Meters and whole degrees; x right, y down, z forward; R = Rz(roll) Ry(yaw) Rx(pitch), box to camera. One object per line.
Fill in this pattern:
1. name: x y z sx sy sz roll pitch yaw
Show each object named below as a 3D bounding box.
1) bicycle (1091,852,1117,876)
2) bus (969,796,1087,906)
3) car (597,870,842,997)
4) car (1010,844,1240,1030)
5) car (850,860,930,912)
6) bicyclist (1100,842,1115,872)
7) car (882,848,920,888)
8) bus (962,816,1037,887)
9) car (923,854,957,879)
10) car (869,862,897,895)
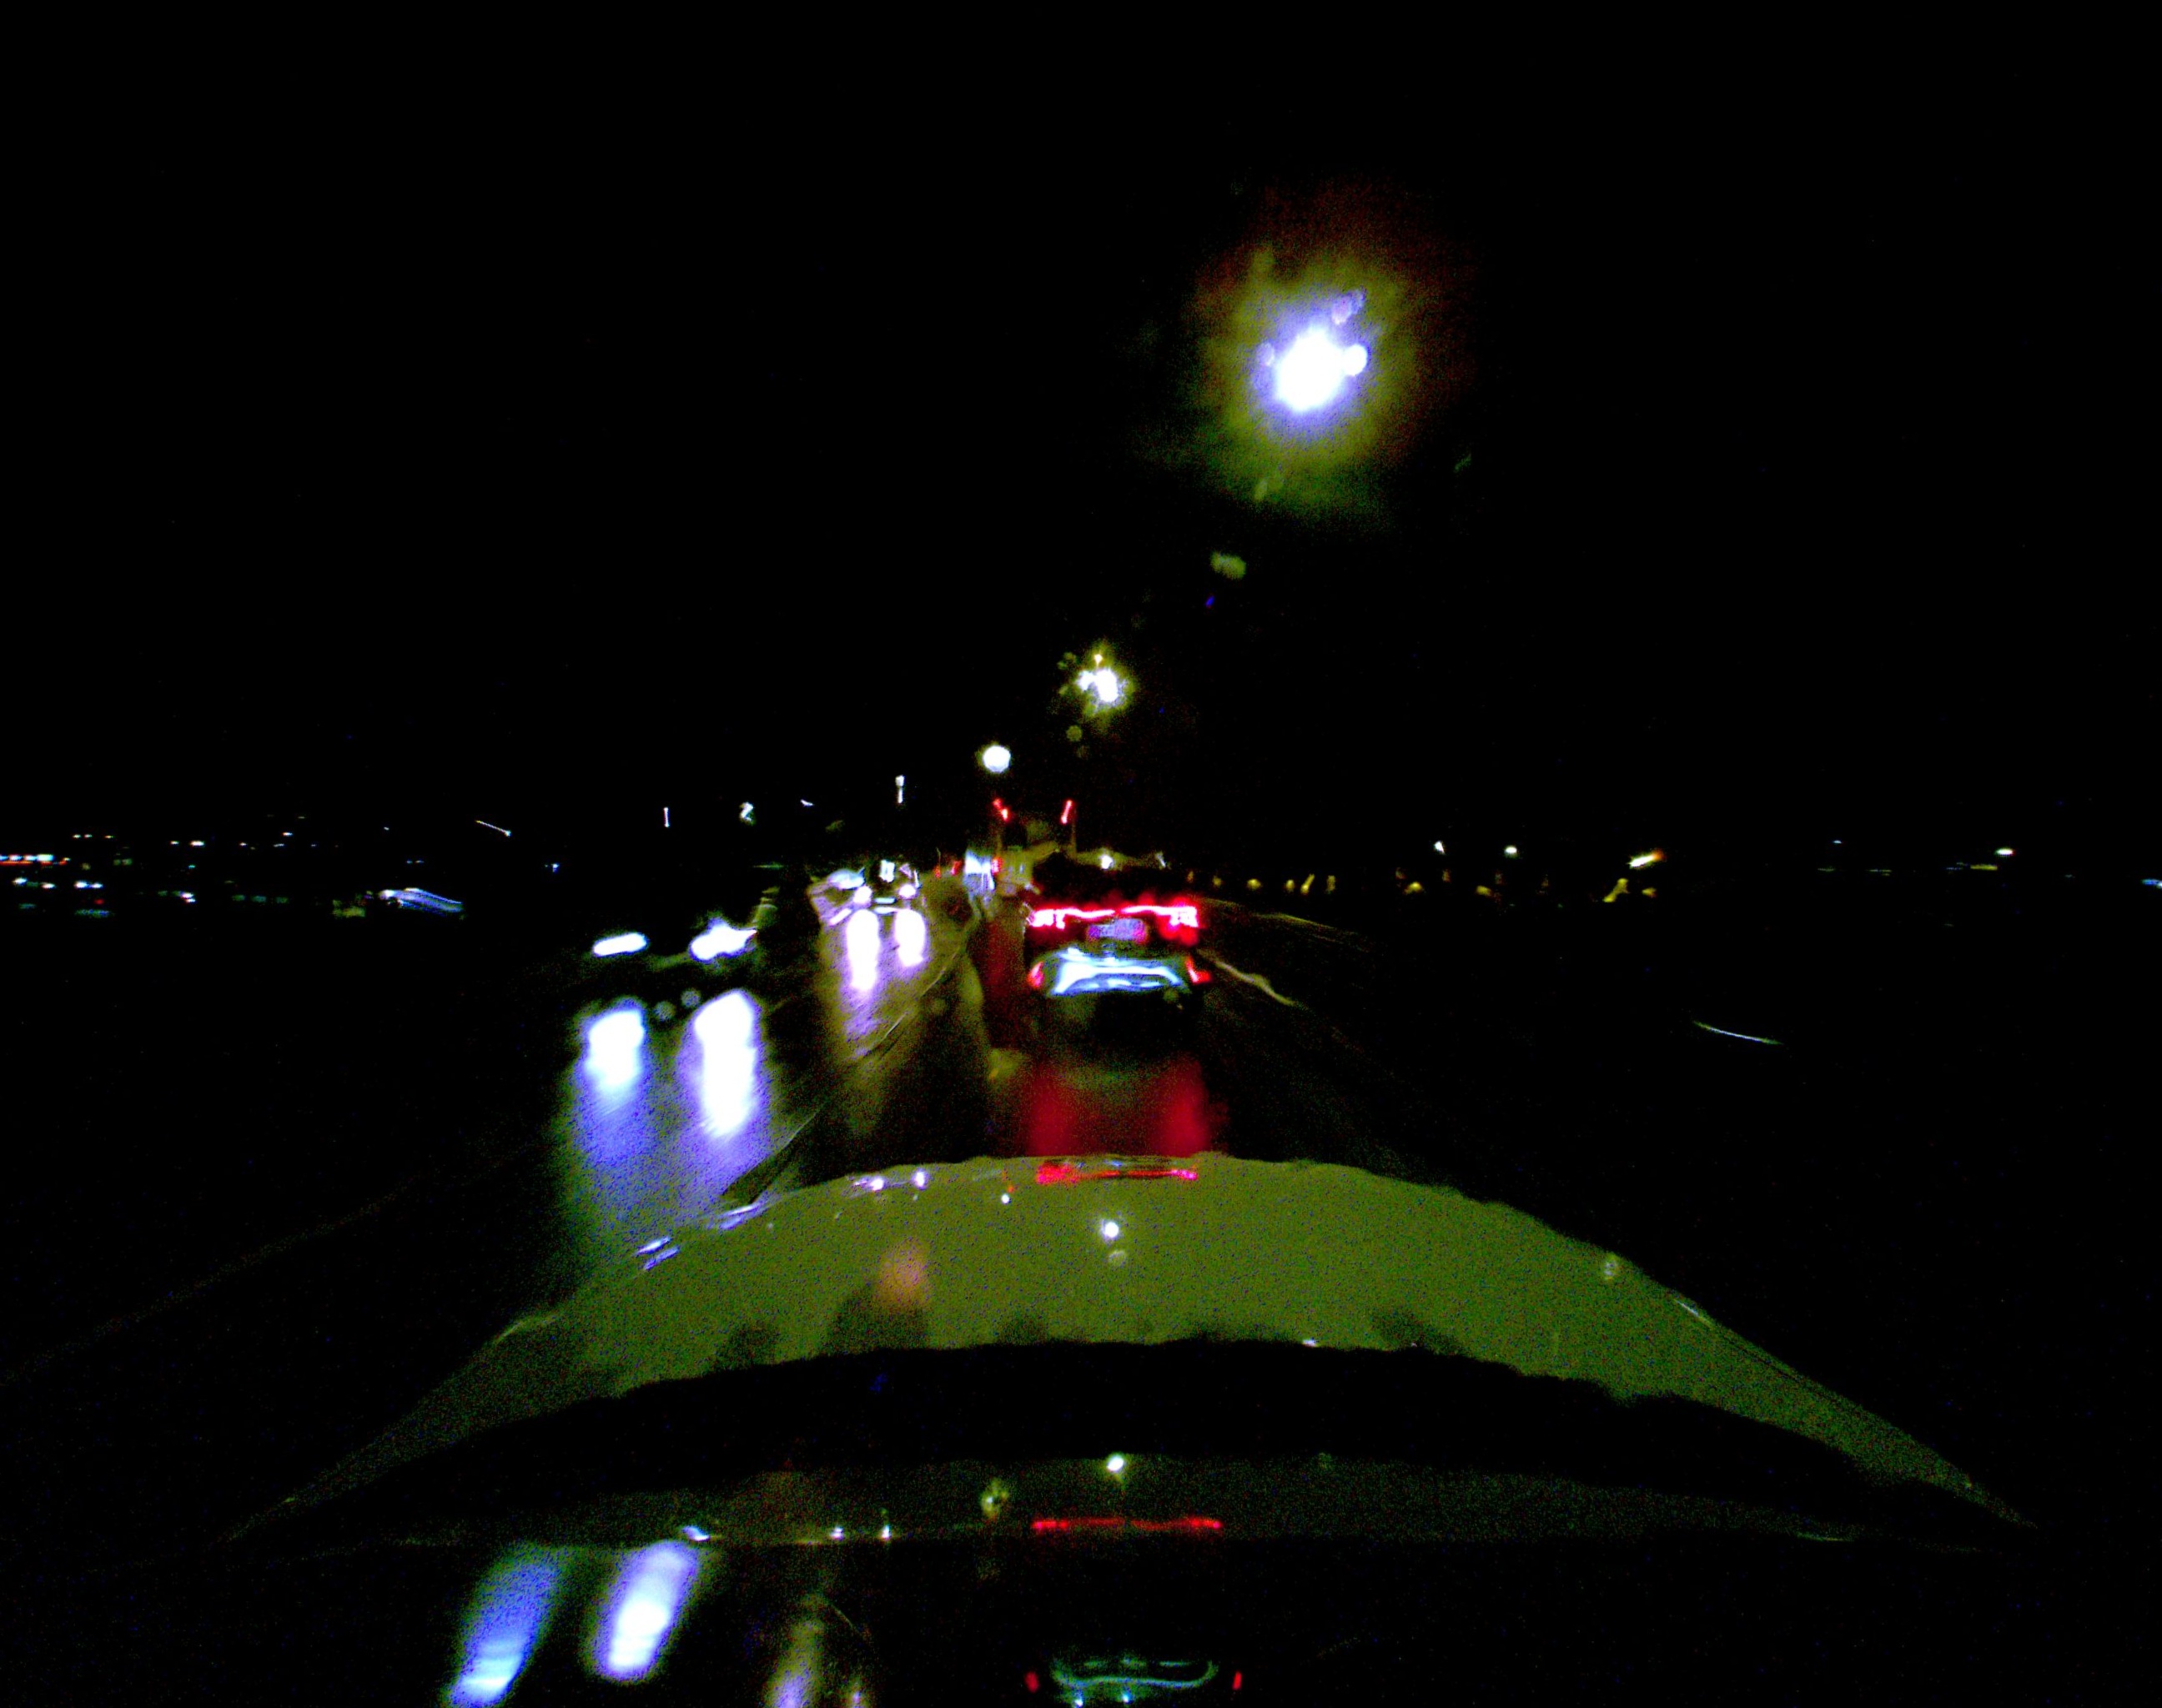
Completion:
1. bicycle: 1.019 0.456 36.702 0.485 1.034 2.158 0 -1 -18
2. bus: -2.367 -0.111 29.817 3.083 3.132 12.656 -1 0 -9
3. car: -4.761 0.946 11.502 1.679 1.391 4.445 0 -1 -3
4. car: 0.224 0.701 9.067 1.854 1.586 3.990 1 0 -7
5. car: -5.855 0.921 25.374 1.812 1.404 4.041 -1 0 -5
6. bicyclist: 1.171 0.138 36.225 0.454 1.349 0.759 1 -1 -19
7. car: -9.158 0.687 41.272 1.756 1.861 3.981 -2 0 -14
8. bus: -4.172 -0.147 40.070 3.049 3.131 8.049 0 0 -11
9. car: -10.223 0.940 58.937 1.642 1.655 3.683 -3 -1 -21
10. car: -12.971 1.532 53.186 1.669 2.013 3.980 -1 0 -14
